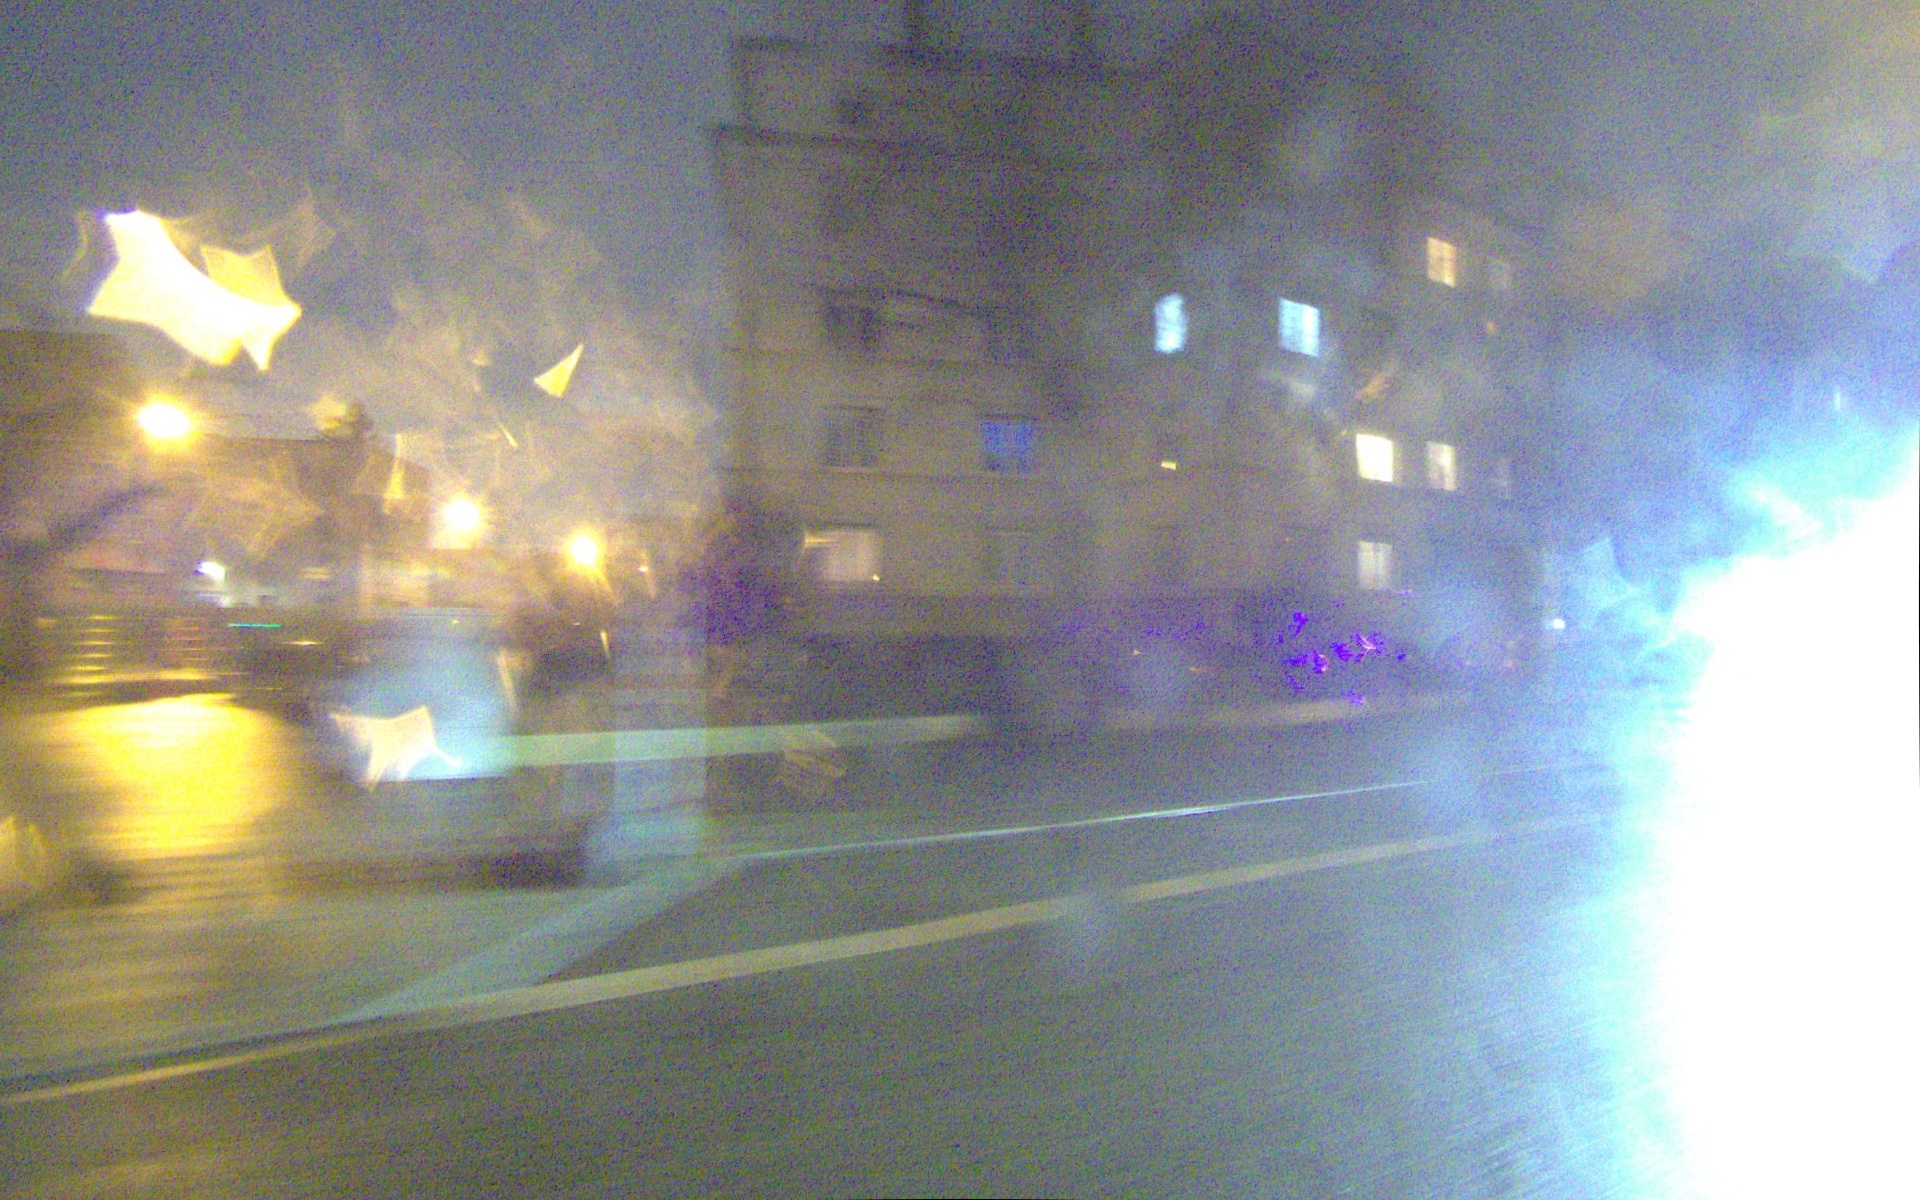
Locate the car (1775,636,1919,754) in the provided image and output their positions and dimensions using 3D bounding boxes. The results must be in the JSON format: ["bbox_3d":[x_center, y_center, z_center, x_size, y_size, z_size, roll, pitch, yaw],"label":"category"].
[{"bbox_3d":[13.720,1.296,14.422,4.590,1.475,1.571,1,-5,-30],"label":"car"}]
